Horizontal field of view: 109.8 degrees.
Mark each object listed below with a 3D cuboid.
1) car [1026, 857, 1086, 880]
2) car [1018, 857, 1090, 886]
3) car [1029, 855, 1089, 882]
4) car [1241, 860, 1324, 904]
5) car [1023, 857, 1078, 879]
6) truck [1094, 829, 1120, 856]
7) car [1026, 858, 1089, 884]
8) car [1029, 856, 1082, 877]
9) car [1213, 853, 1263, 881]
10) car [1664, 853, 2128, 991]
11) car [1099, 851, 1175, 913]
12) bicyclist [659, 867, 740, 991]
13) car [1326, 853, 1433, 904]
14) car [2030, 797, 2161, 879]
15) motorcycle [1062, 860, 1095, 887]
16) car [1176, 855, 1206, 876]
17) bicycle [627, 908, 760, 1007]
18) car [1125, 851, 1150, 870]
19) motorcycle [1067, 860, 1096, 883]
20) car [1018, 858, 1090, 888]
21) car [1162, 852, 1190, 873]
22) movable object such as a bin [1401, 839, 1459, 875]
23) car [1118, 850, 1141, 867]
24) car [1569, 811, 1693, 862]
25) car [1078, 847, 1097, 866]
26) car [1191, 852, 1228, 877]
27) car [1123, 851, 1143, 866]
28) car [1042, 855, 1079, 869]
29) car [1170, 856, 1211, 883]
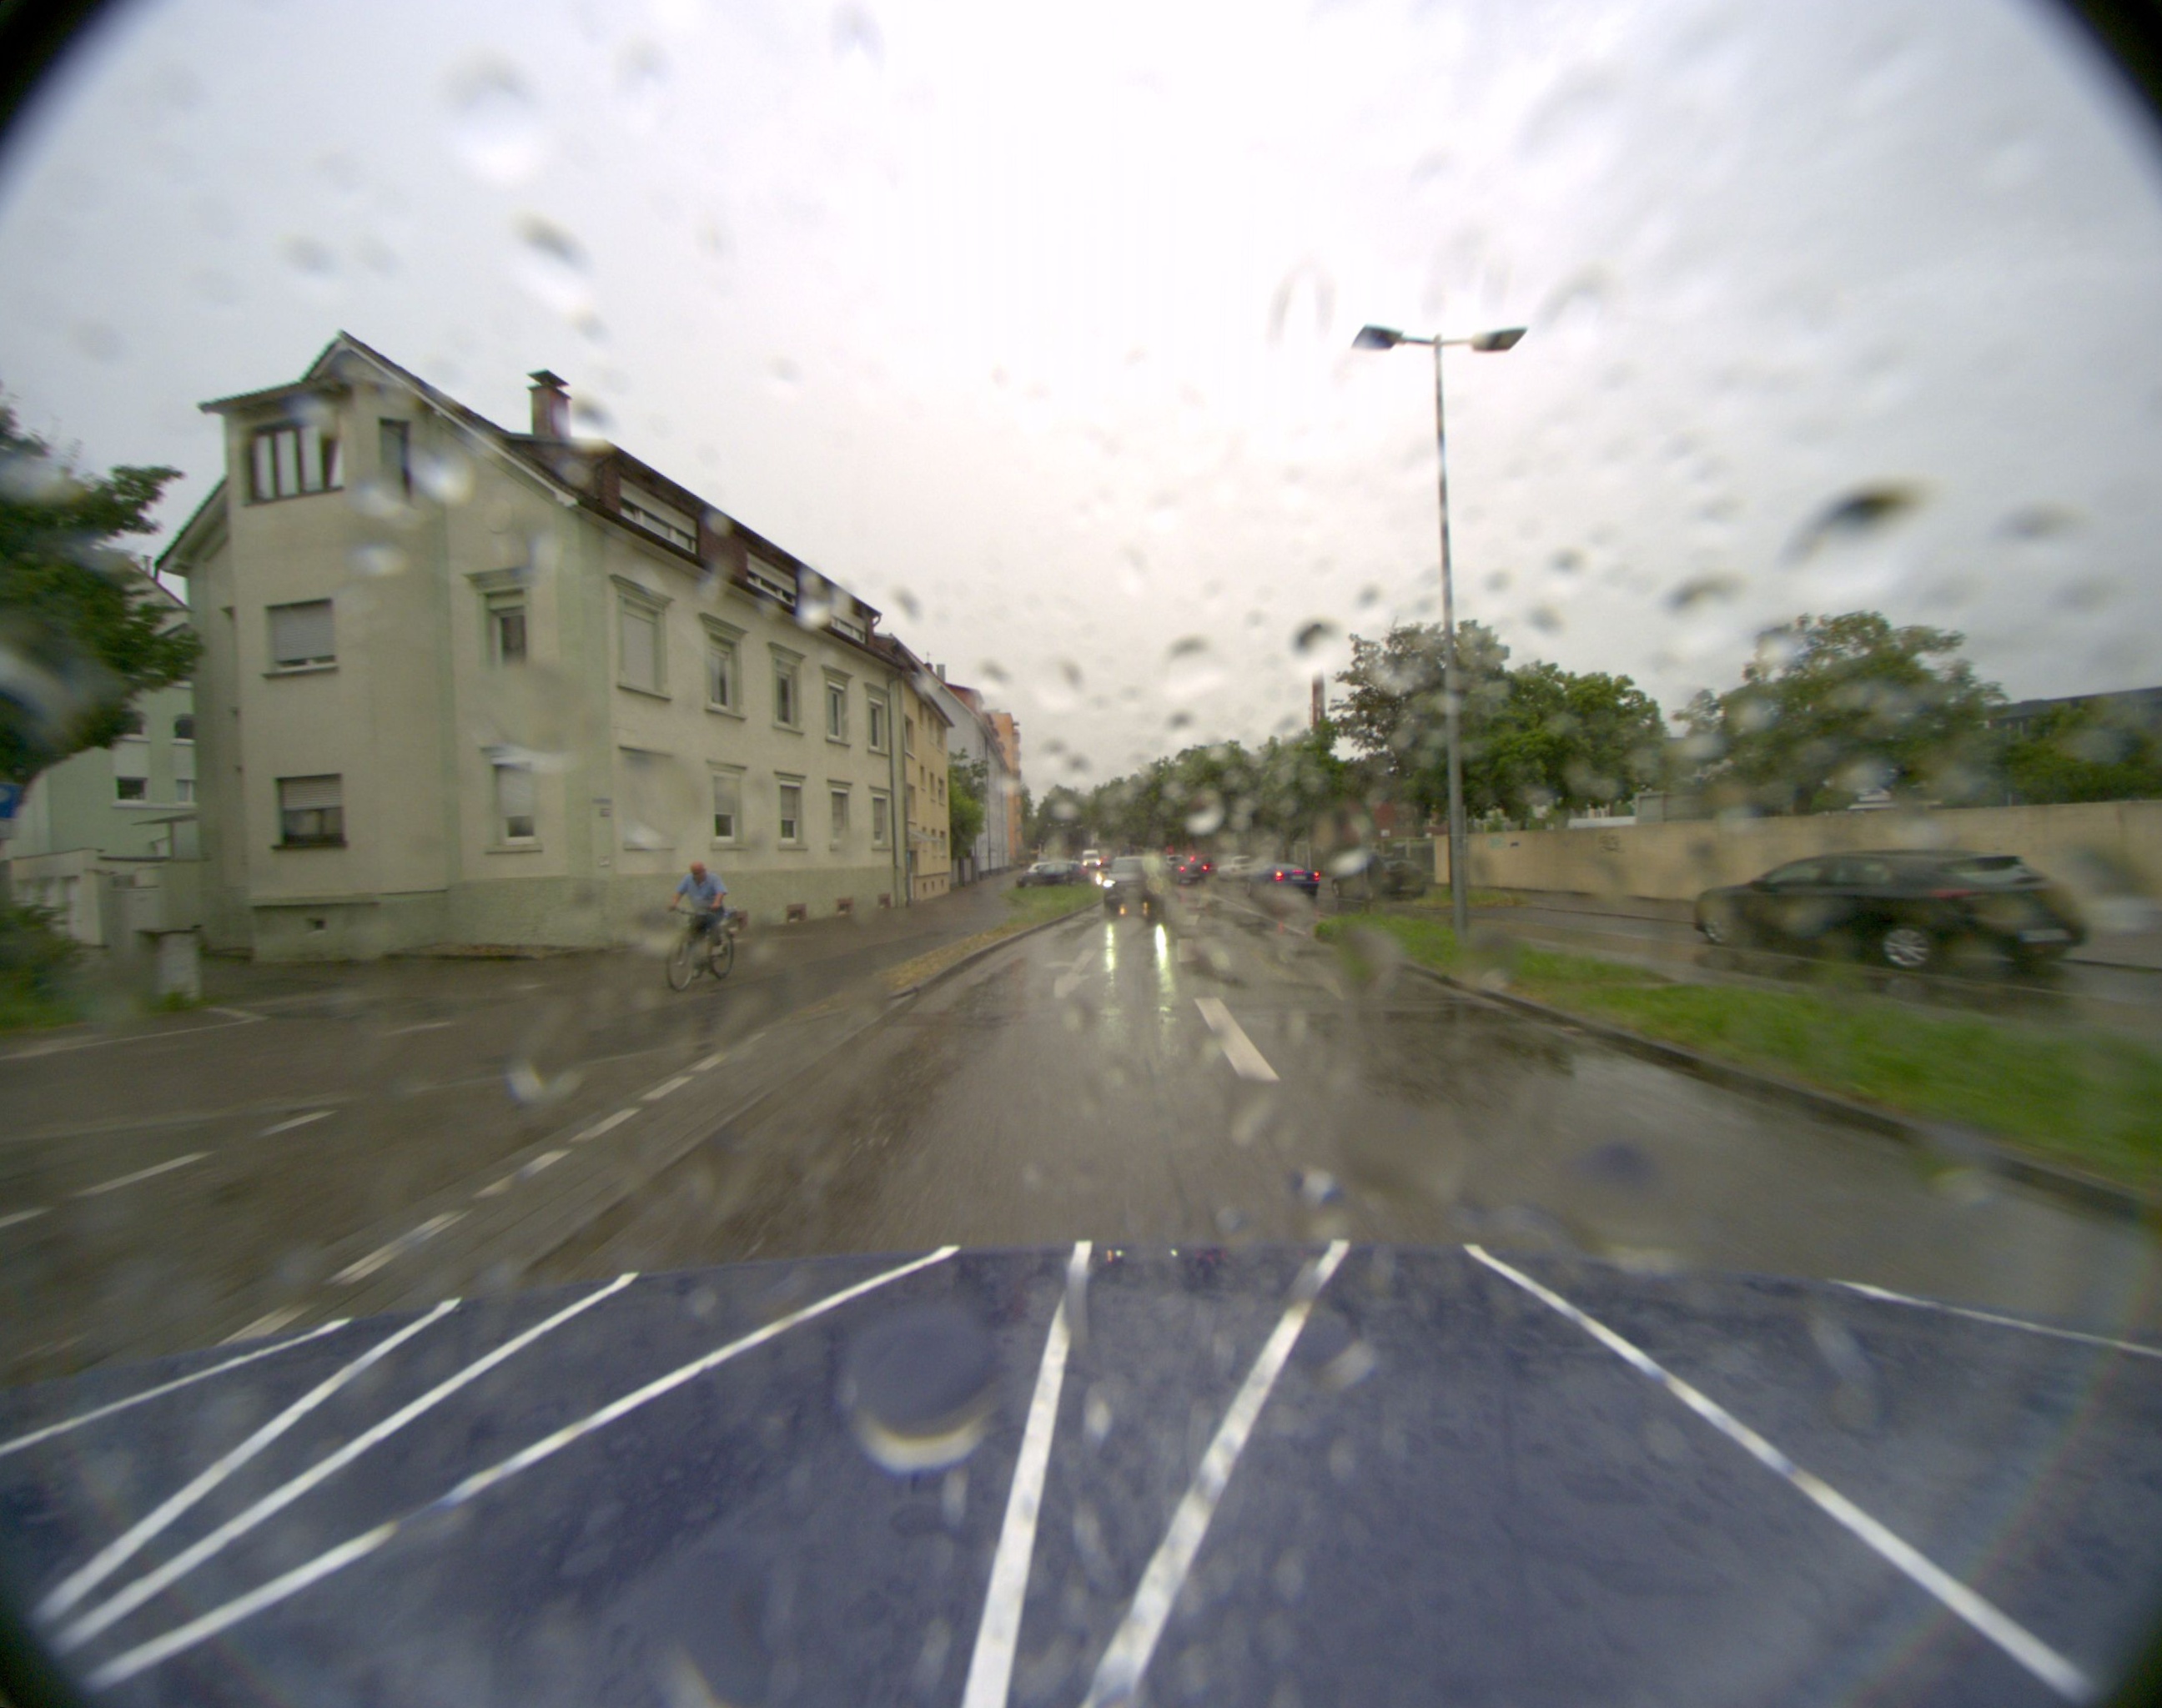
[{"bbox_3d":[-1.870,1.094,57.079,4.389,1.468,2.050,-3,1,-1],"label":"car"},{"bbox_3d":[-1.560,1.017,44.416,4.064,1.446,1.934,-3,-1,-1],"label":"car"},{"bbox_3d":[-1.473,0.983,51.642,3.924,1.605,1.691,-3,1,-1],"label":"car"},{"bbox_3d":[7.166,0.948,27.418,1.732,1.385,3.948,1,1,-3],"label":"car"},{"bbox_3d":[-2.336,1.064,59.377,4.171,1.468,1.919,-3,1,-1],"label":"car"},{"bbox_3d":[4.465,-2.020,135.015,3.833,4.360,10.783,-3,1,-1],"label":"truck"},{"bbox_3d":[-1.497,1.081,49.030,3.924,1.472,1.856,-3,1,-1],"label":"car"},{"bbox_3d":[-2.022,1.037,61.816,4.171,1.468,1.650,-3,1,-1],"label":"car"},{"bbox_3d":[9.349,0.735,45.666,1.779,1.451,4.678,-3,1,-3],"label":"car"},{"bbox_3d":[10.620,0.743,10.468,1.732,1.375,4.178,-4,1,-3],"label":"car"},{"bbox_3d":[1.687,0.827,24.368,1.961,1.702,4.173,-3,1,-1],"label":"car"},{"bbox_3d":[-5.123,0.978,10.232,0.640,1.573,0.716,-3,0,2],"label":"bicyclist"},{"bbox_3d":[9.740,0.736,25.148,1.700,1.437,4.096,-3,1,-2],"label":"car"},{"bbox_3d":[26.989,-0.433,19.034,2.003,1.980,3.989,-3,1,-38],"label":"car"},{"bbox_3d":[-0.137,1.005,39.719,1.593,1.316,0.695,-3,0,-2],"label":"motorcycle"},{"bbox_3d":[8.554,0.860,59.251,1.694,1.445,3.718,-3,1,0],"label":"car"},{"bbox_3d":[-5.145,1.338,10.265,0.674,1.054,1.972,-3,0,2],"label":"bicycle"},{"bbox_3d":[5.687,0.619,76.938,2.071,1.732,4.174,-3,1,0],"label":"car"},{"bbox_3d":[0.025,1.079,47.225,1.767,1.365,0.734,-3,1,-1],"label":"motorcycle"},{"bbox_3d":[-1.466,1.025,41.802,3.761,1.446,1.801,-3,-1,-1],"label":"car"},{"bbox_3d":[8.479,0.723,68.158,1.882,1.672,4.036,-3,1,-1],"label":"car"},{"bbox_3d":[14.949,0.113,32.604,1.563,1.433,1.831,-3,1,-1],"label":"movable object such as a bin"},{"bbox_3d":[5.301,0.450,82.865,2.071,1.732,4.173,-3,1,-1],"label":"car"},{"bbox_3d":[28.399,-0.860,39.408,2.153,2.383,4.709,-3,1,-31],"label":"car"},{"bbox_3d":[0.789,0.246,95.442,2.194,2.242,4.883,-3,1,-1],"label":"car"},{"bbox_3d":[9.023,0.702,53.616,1.629,1.589,3.796,-3,1,-5],"label":"car"},{"bbox_3d":[6.227,0.524,91.477,2.071,1.663,4.173,-3,1,-1],"label":"car"},{"bbox_3d":[-2.310,0.906,87.978,4.171,1.445,1.650,-3,1,-1],"label":"car"},{"bbox_3d":[6.466,0.893,45.227,1.711,1.492,3.944,0,1,-3],"label":"car"}]
